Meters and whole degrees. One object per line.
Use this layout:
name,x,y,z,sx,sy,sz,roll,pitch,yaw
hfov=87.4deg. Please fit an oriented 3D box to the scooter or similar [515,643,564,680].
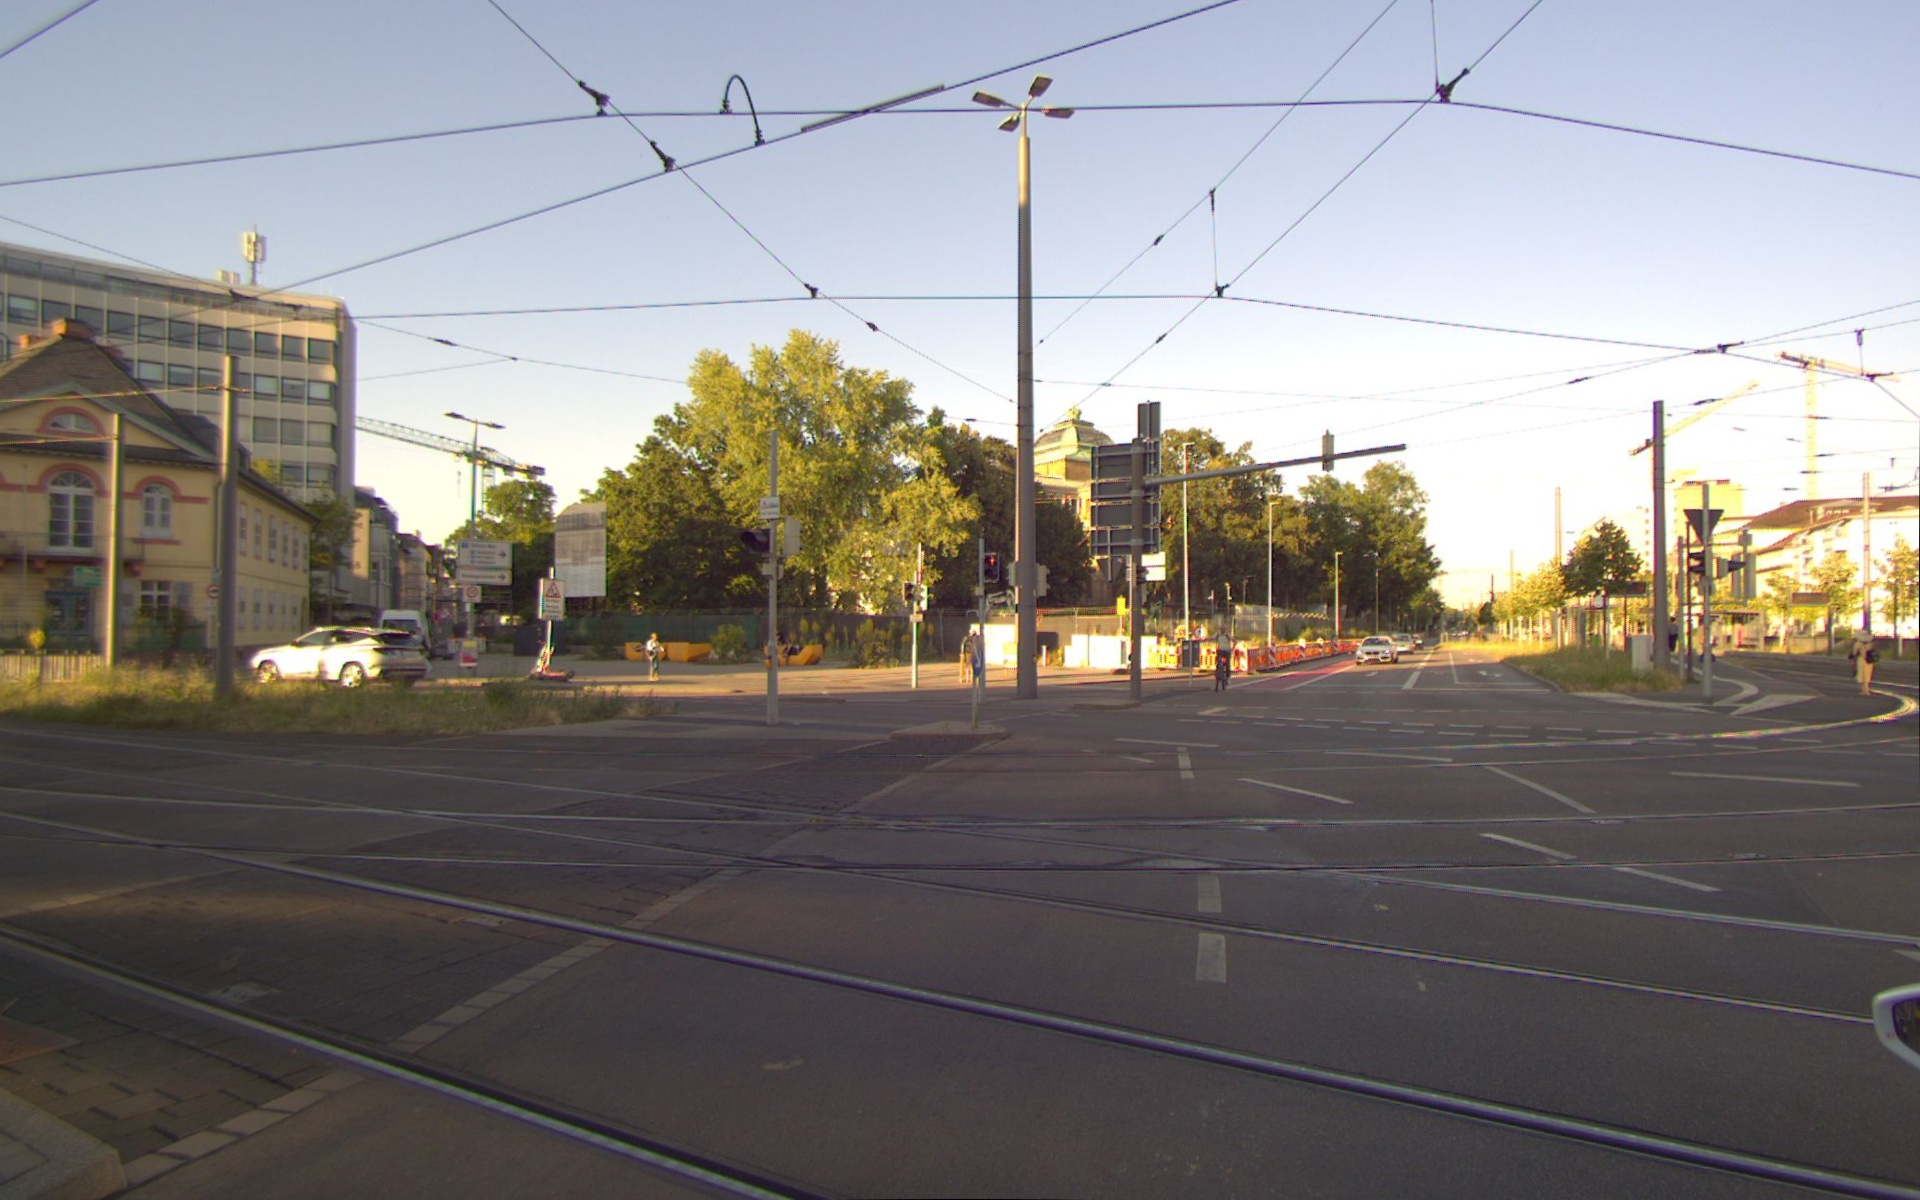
scooter or similar,-14.703,2.141,35.156,1.502,1.276,0.610,0,-2,-18

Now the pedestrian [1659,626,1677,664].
pedestrian,30.313,1.926,43.019,0.556,1.612,0.689,-1,-2,30

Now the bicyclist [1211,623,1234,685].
bicyclist,7.280,1.493,27.862,0.584,1.693,0.748,0,-1,17

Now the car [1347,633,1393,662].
car,21.457,2.470,52.484,1.881,1.424,4.300,-2,-3,27

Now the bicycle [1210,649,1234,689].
bicycle,7.279,1.886,27.867,0.584,1.036,1.848,0,-2,17

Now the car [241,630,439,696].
car,-16.691,1.663,27.106,4.444,1.683,1.951,0,-2,14

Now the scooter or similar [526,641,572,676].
scooter or similar,-13.955,1.979,34.143,1.382,1.181,0.460,1,-2,-17

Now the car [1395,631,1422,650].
car,40.645,3.666,90.980,1.909,1.638,4.385,-1,-2,29

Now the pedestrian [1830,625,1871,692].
pedestrian,21.379,1.390,24.114,0.697,1.561,0.633,-2,-2,43

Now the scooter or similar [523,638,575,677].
scooter or similar,-14.139,1.984,34.586,1.627,1.309,0.459,0,-1,-18

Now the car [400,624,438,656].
car,-32.692,2.421,60.812,1.695,1.873,3.999,1,-2,-24

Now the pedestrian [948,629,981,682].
pedestrian,0.145,1.872,33.972,0.928,1.758,0.819,0,-1,-15

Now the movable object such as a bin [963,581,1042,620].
movable object such as a bin,2.308,0.082,56.457,1.978,2.040,4.980,1,-2,-32

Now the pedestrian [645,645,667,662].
pedestrian,-15.782,2.769,52.179,0.961,0.905,0.562,0,-2,11

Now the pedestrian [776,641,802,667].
pedestrian,-8.075,2.543,47.373,0.722,1.173,0.988,-1,-2,32

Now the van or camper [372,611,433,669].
van or camper,-28.842,2.065,52.136,2.055,2.811,6.414,1,-2,-23

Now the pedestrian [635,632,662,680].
pedestrian,-10.636,1.897,34.296,0.587,1.634,0.688,-1,-2,35

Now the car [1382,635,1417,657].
car,32.144,3.378,73.422,1.653,1.581,3.715,-4,-4,35

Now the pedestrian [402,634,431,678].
pedestrian,-21.506,2.209,39.737,0.866,1.746,0.825,1,-2,-21

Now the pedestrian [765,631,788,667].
pedestrian,-8.807,2.351,48.226,0.751,1.687,0.820,-1,-2,33
